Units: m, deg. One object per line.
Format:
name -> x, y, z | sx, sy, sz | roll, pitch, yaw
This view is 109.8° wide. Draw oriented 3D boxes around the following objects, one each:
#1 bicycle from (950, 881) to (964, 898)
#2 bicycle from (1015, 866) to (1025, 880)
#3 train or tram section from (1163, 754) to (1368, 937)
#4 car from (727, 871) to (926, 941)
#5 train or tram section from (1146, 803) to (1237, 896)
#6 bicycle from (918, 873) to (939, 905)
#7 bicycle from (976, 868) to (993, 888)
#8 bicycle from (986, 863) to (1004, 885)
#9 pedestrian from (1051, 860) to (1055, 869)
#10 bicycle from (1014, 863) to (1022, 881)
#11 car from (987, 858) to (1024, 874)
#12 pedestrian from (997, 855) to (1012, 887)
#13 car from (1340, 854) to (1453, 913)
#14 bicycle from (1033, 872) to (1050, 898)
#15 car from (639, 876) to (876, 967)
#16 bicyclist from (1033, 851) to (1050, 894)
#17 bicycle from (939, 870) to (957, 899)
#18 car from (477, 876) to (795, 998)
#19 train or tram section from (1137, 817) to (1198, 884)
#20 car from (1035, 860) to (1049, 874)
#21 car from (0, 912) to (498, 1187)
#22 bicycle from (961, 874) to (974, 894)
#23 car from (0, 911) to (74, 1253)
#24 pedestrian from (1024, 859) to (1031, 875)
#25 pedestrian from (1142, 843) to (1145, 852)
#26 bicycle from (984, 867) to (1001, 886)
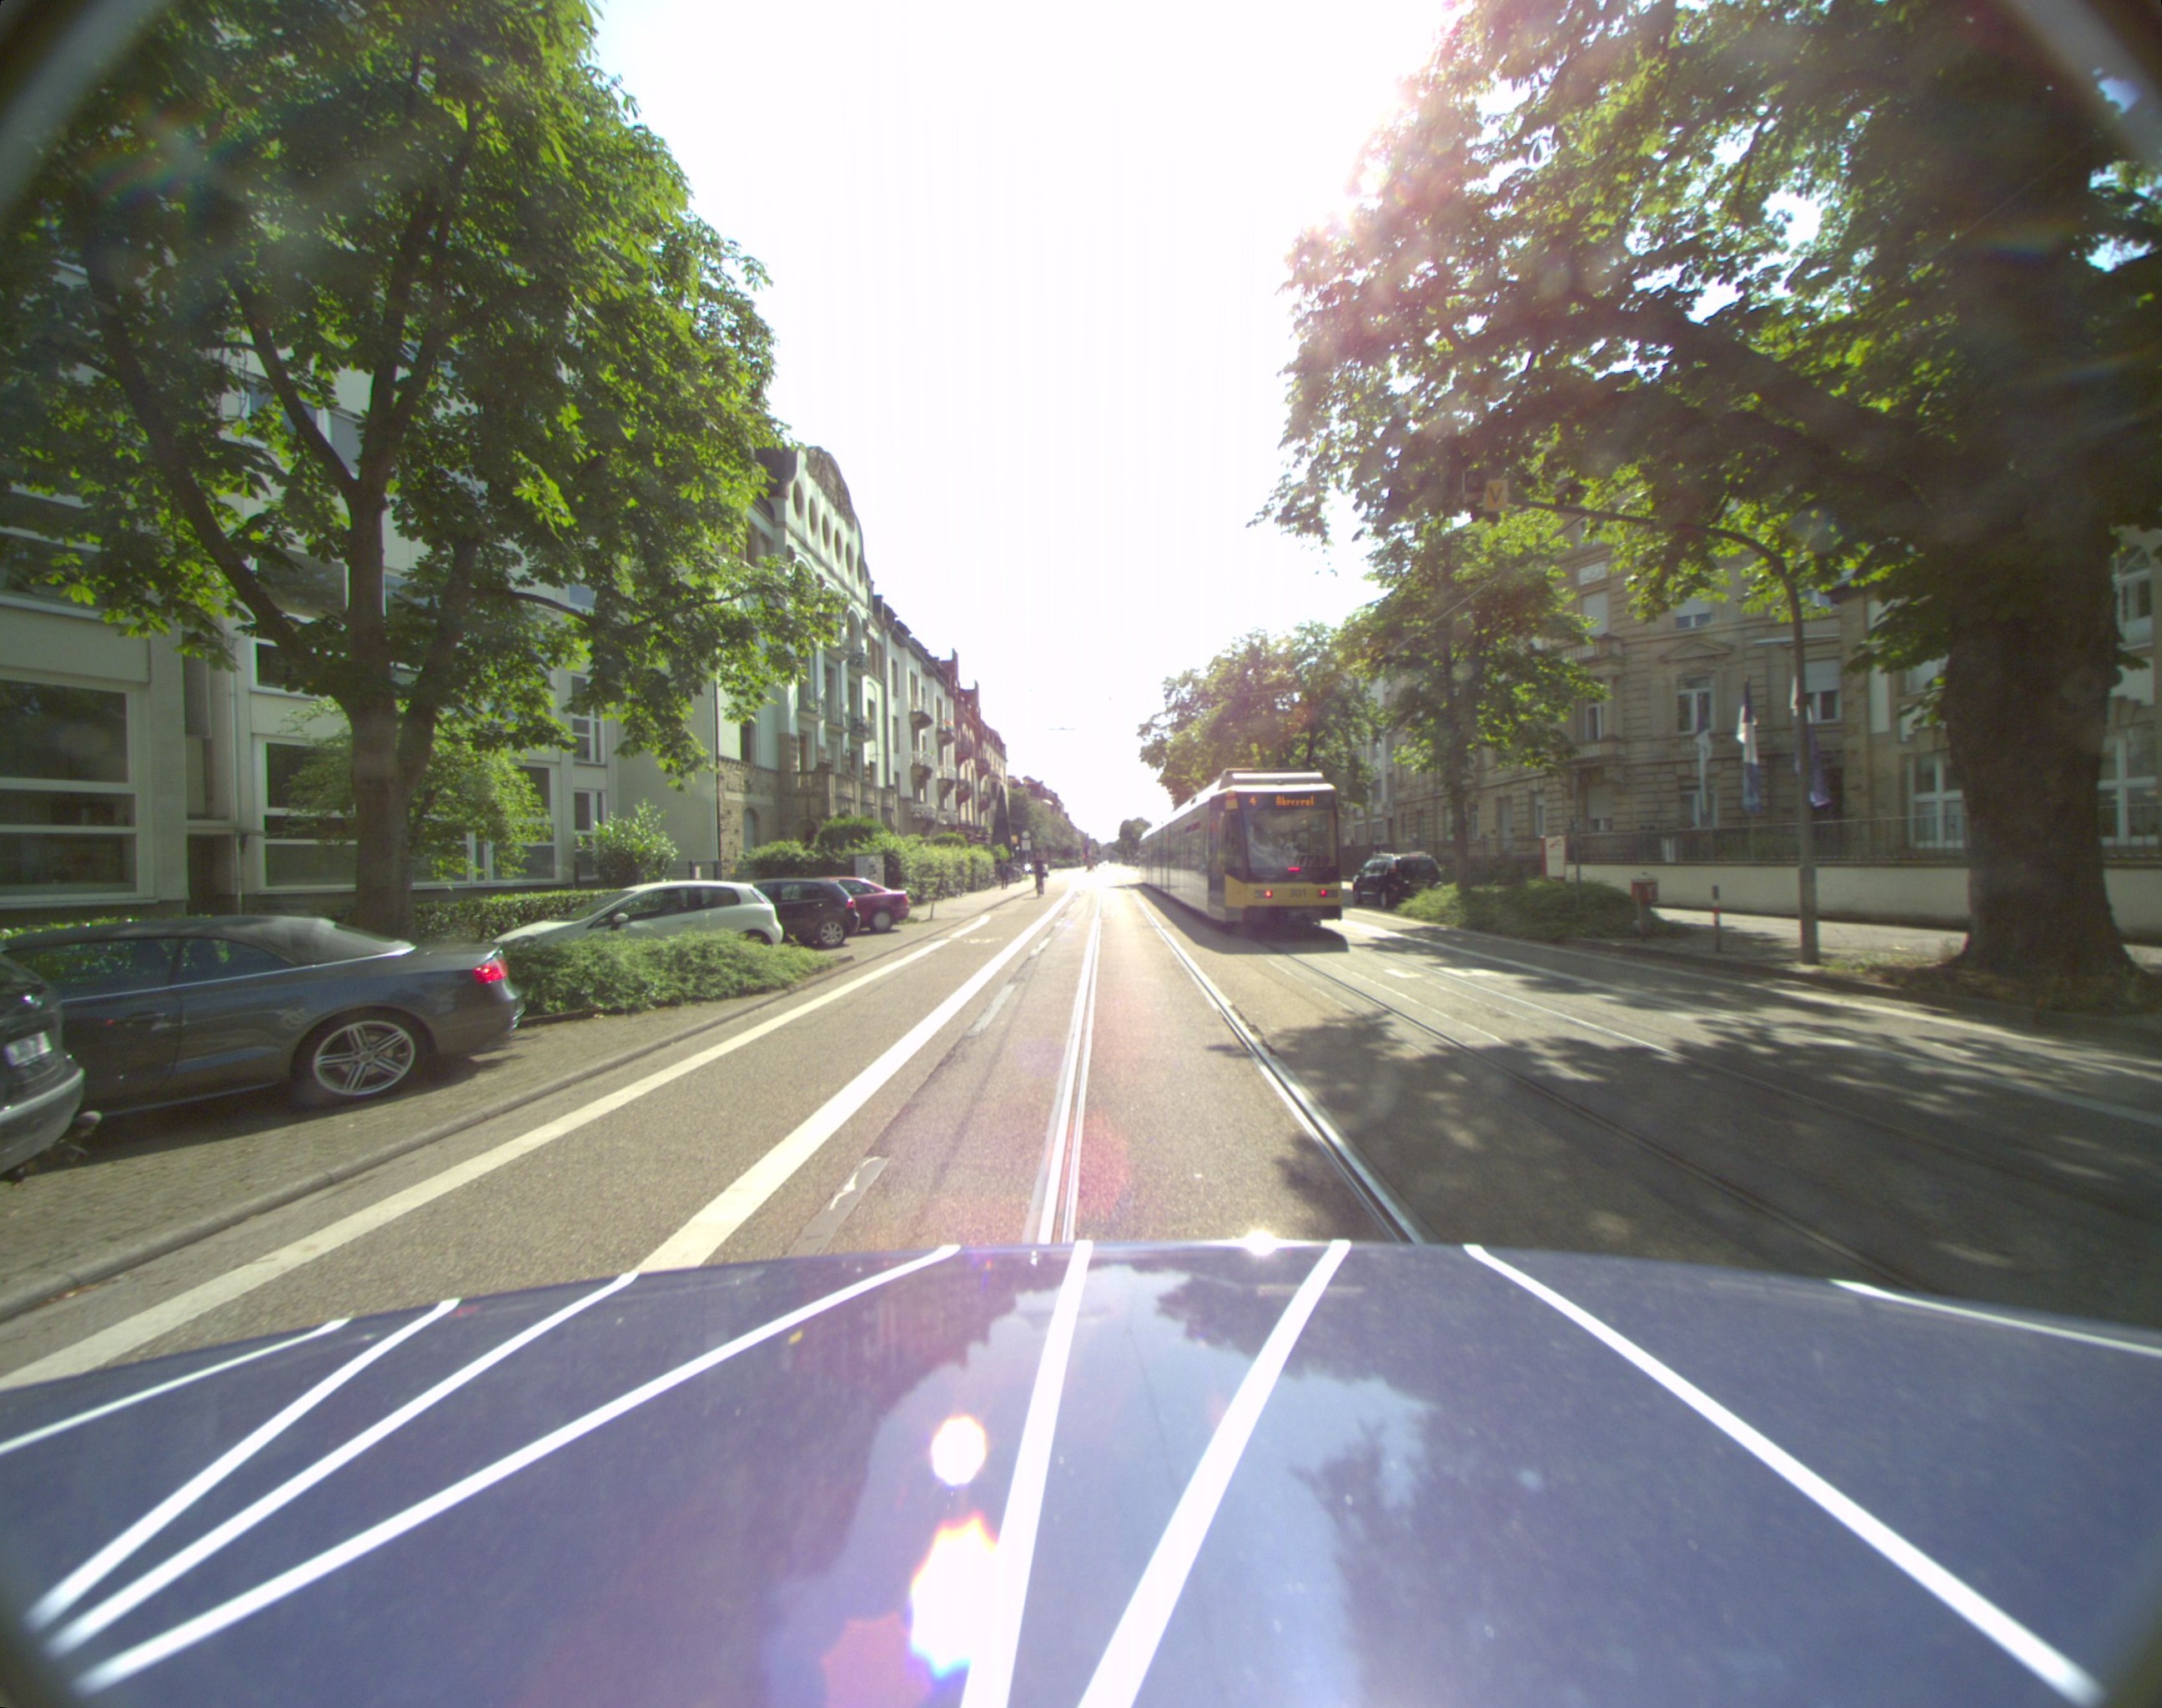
bicycle -> -5.482, 1.573, 33.603 | 0.280, 0.673, 1.559 | 2, 0, 2
bicycle -> -4.723, 1.461, 59.093 | 0.600, 0.955, 3.066 | 3, 0, -1
train or tram section -> 4.141, -0.185, 21.018 | 2.659, 3.336, 14.109 | 1, 0, 2
car -> -6.074, 1.167, 18.419 | 4.168, 1.415, 1.861 | -1, 0, -41
train or tram section -> 4.558, -0.198, 33.705 | 2.659, 3.369, 11.474 | 1, 0, 2
bicycle -> -5.625, 1.280, 28.171 | 0.280, 1.102, 2.011 | 2, 0, 2
bicycle -> -5.117, 1.245, 40.507 | 0.614, 0.983, 1.872 | 1, 0, 1
bicycle -> -5.215, 1.201, 46.382 | 0.742, 1.224, 2.516 | -1, 0, 1
pedestrian -> -5.142, 1.911, 139.334 | 0.707, 1.644, 0.534 | -3, 1, 1
bicycle -> -4.525, 1.280, 54.387 | 0.452, 1.253, 1.844 | 1, 0, -1
car -> -7.536, 1.198, 76.417 | 3.409, 1.515, 1.972 | 1, 0, 4
pedestrian -> -4.392, 0.970, 43.807 | 0.790, 1.850, 0.580 | 1, 0, -5
car -> 9.946, 0.852, 24.336 | 1.811, 1.631, 4.332 | -3, 0, 1
bicycle -> -1.822, 1.414, 35.135 | 0.617, 1.039, 1.836 | 2, 1, 1
car -> -6.392, 1.245, 15.254 | 4.008, 1.440, 1.695 | -2, 0, -41
bicyclist -> -1.823, 0.825, 35.026 | 0.608, 1.937, 1.130 | -3, 1, 1
bicycle -> -5.533, 1.266, 31.689 | 0.280, 1.102, 2.011 | 2, 0, 2
car -> -6.773, 1.142, 11.873 | 4.008, 1.452, 1.531 | -2, 0, -44
train or tram section -> 4.927, -0.152, 45.509 | 2.659, 3.416, 12.317 | 1, 0, 2
car -> -4.480, 1.505, 87.185 | 1.517, 1.490, 2.794 | 2, 0, -1
car -> -6.723, 1.258, 5.153 | 4.183, 1.341, 1.900 | -3, 0, -43
bicycle -> -5.386, 1.410, 36.013 | 0.274, 0.901, 1.669 | 2, -1, 2
car -> -6.566, 1.136, 2.209 | 4.007, 1.565, 1.900 | -3, 0, -40
pedestrian -> -6.473, 1.535, 91.951 | 0.661, 1.831, 0.873 | 7, 0, -6
pedestrian -> 10.649, -1.125, 130.381 | 0.473, 1.647, 0.746 | 0, 1, 1
bicycle -> -4.972, 1.259, 42.904 | 0.612, 0.990, 2.362 | 2, 0, 1
